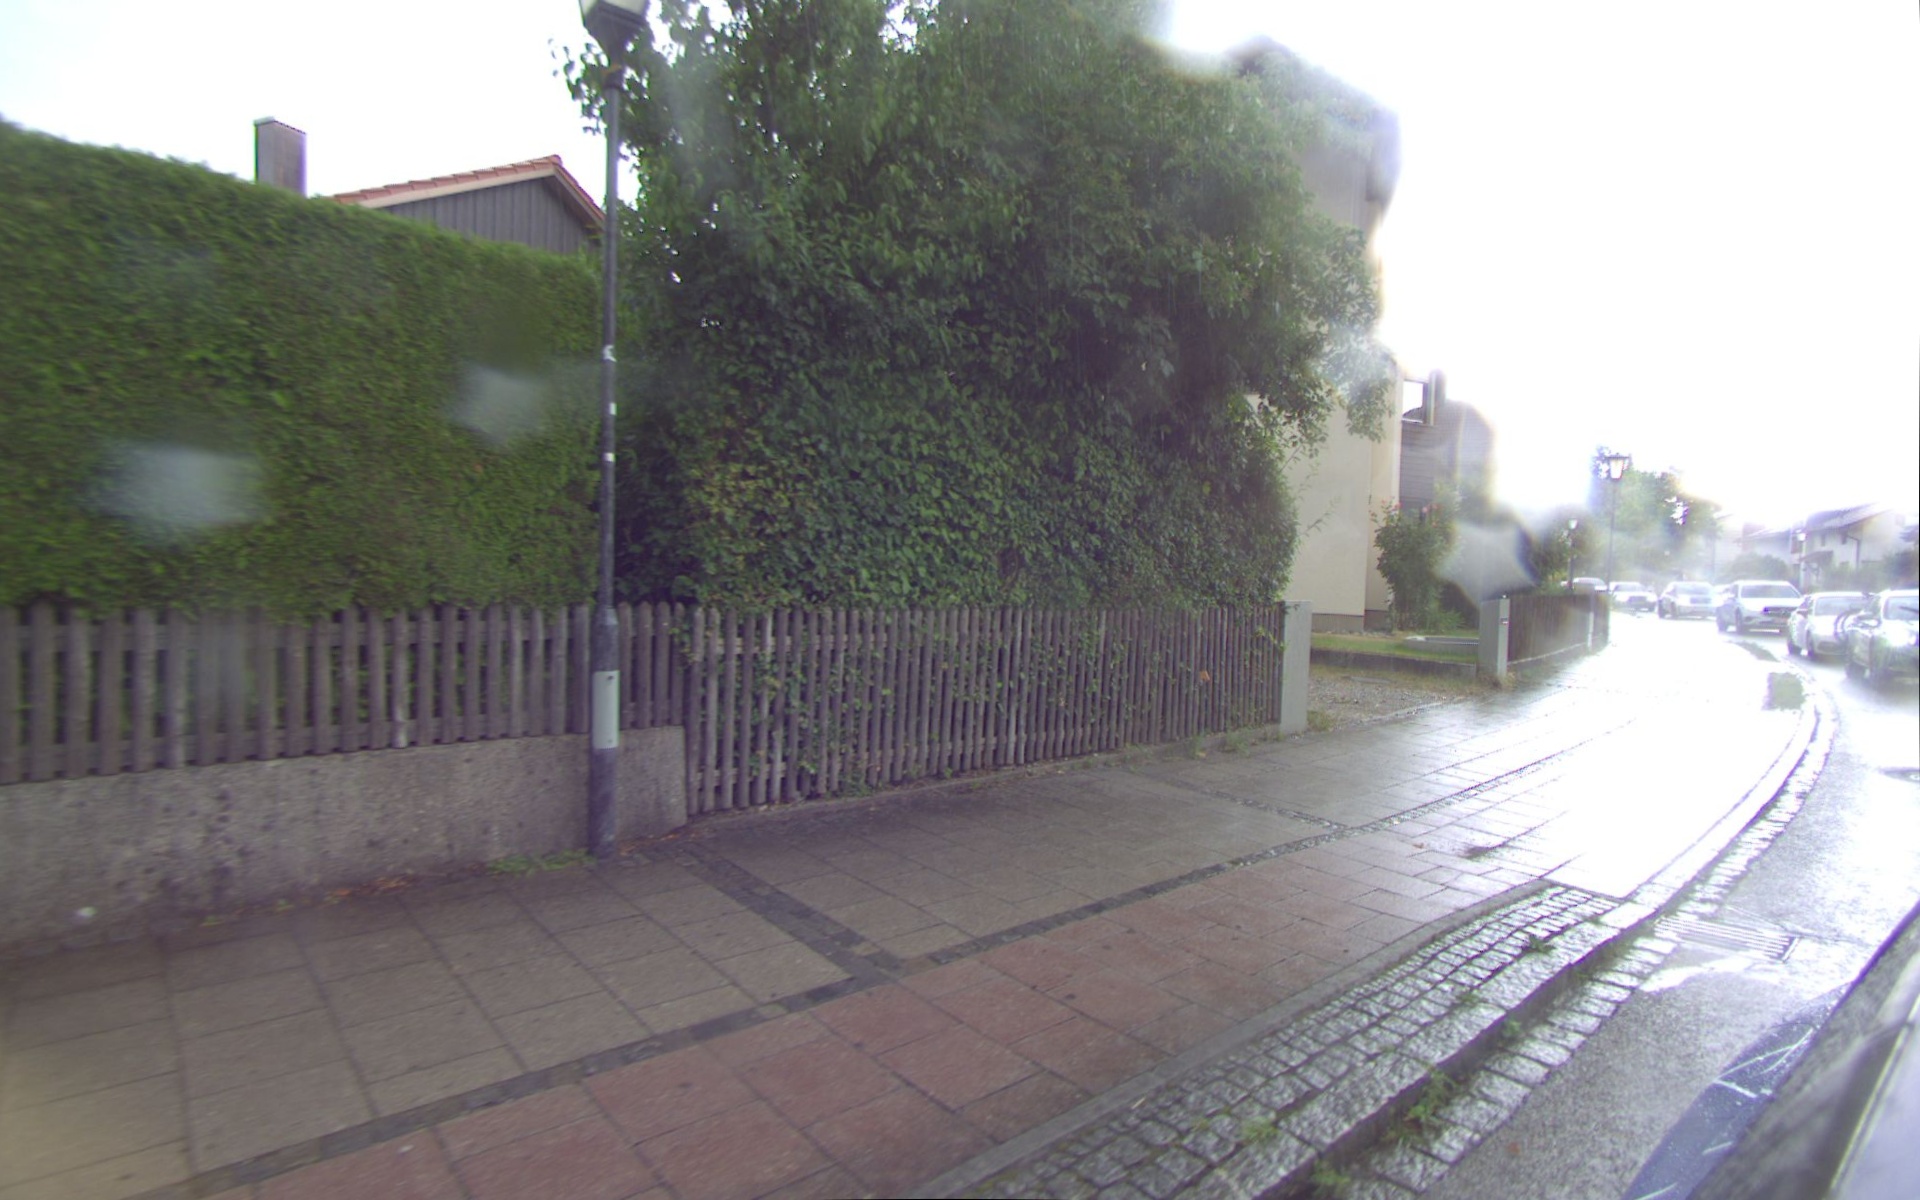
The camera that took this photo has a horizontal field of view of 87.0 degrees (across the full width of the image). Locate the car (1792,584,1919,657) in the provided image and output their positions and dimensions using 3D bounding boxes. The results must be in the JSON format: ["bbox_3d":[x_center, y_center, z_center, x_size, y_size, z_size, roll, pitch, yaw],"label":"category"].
[{"bbox_3d":[19.395,0.374,21.924,1.783,1.412,4.227,0,1,35],"label":"car"}]

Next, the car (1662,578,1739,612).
[{"bbox_3d":[31.725,-0.239,43.496,1.775,1.391,4.247,0,1,24],"label":"car"}]

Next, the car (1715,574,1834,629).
[{"bbox_3d":[24.951,0.024,31.179,1.775,1.568,4.247,0,1,24],"label":"car"}]

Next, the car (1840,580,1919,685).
[{"bbox_3d":[15.741,0.429,16.302,1.783,1.498,5.318,0,1,35],"label":"car"}]

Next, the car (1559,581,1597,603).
[{"bbox_3d":[44.769,-0.607,73.337,1.775,1.568,4.247,0,1,24],"label":"car"}]

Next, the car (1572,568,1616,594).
[{"bbox_3d":[40.548,-1.216,64.844,1.775,1.568,4.247,0,1,24],"label":"car"}]

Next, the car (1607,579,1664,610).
[{"bbox_3d":[36.129,-0.299,54.213,1.775,1.568,4.247,0,1,24],"label":"car"}]
